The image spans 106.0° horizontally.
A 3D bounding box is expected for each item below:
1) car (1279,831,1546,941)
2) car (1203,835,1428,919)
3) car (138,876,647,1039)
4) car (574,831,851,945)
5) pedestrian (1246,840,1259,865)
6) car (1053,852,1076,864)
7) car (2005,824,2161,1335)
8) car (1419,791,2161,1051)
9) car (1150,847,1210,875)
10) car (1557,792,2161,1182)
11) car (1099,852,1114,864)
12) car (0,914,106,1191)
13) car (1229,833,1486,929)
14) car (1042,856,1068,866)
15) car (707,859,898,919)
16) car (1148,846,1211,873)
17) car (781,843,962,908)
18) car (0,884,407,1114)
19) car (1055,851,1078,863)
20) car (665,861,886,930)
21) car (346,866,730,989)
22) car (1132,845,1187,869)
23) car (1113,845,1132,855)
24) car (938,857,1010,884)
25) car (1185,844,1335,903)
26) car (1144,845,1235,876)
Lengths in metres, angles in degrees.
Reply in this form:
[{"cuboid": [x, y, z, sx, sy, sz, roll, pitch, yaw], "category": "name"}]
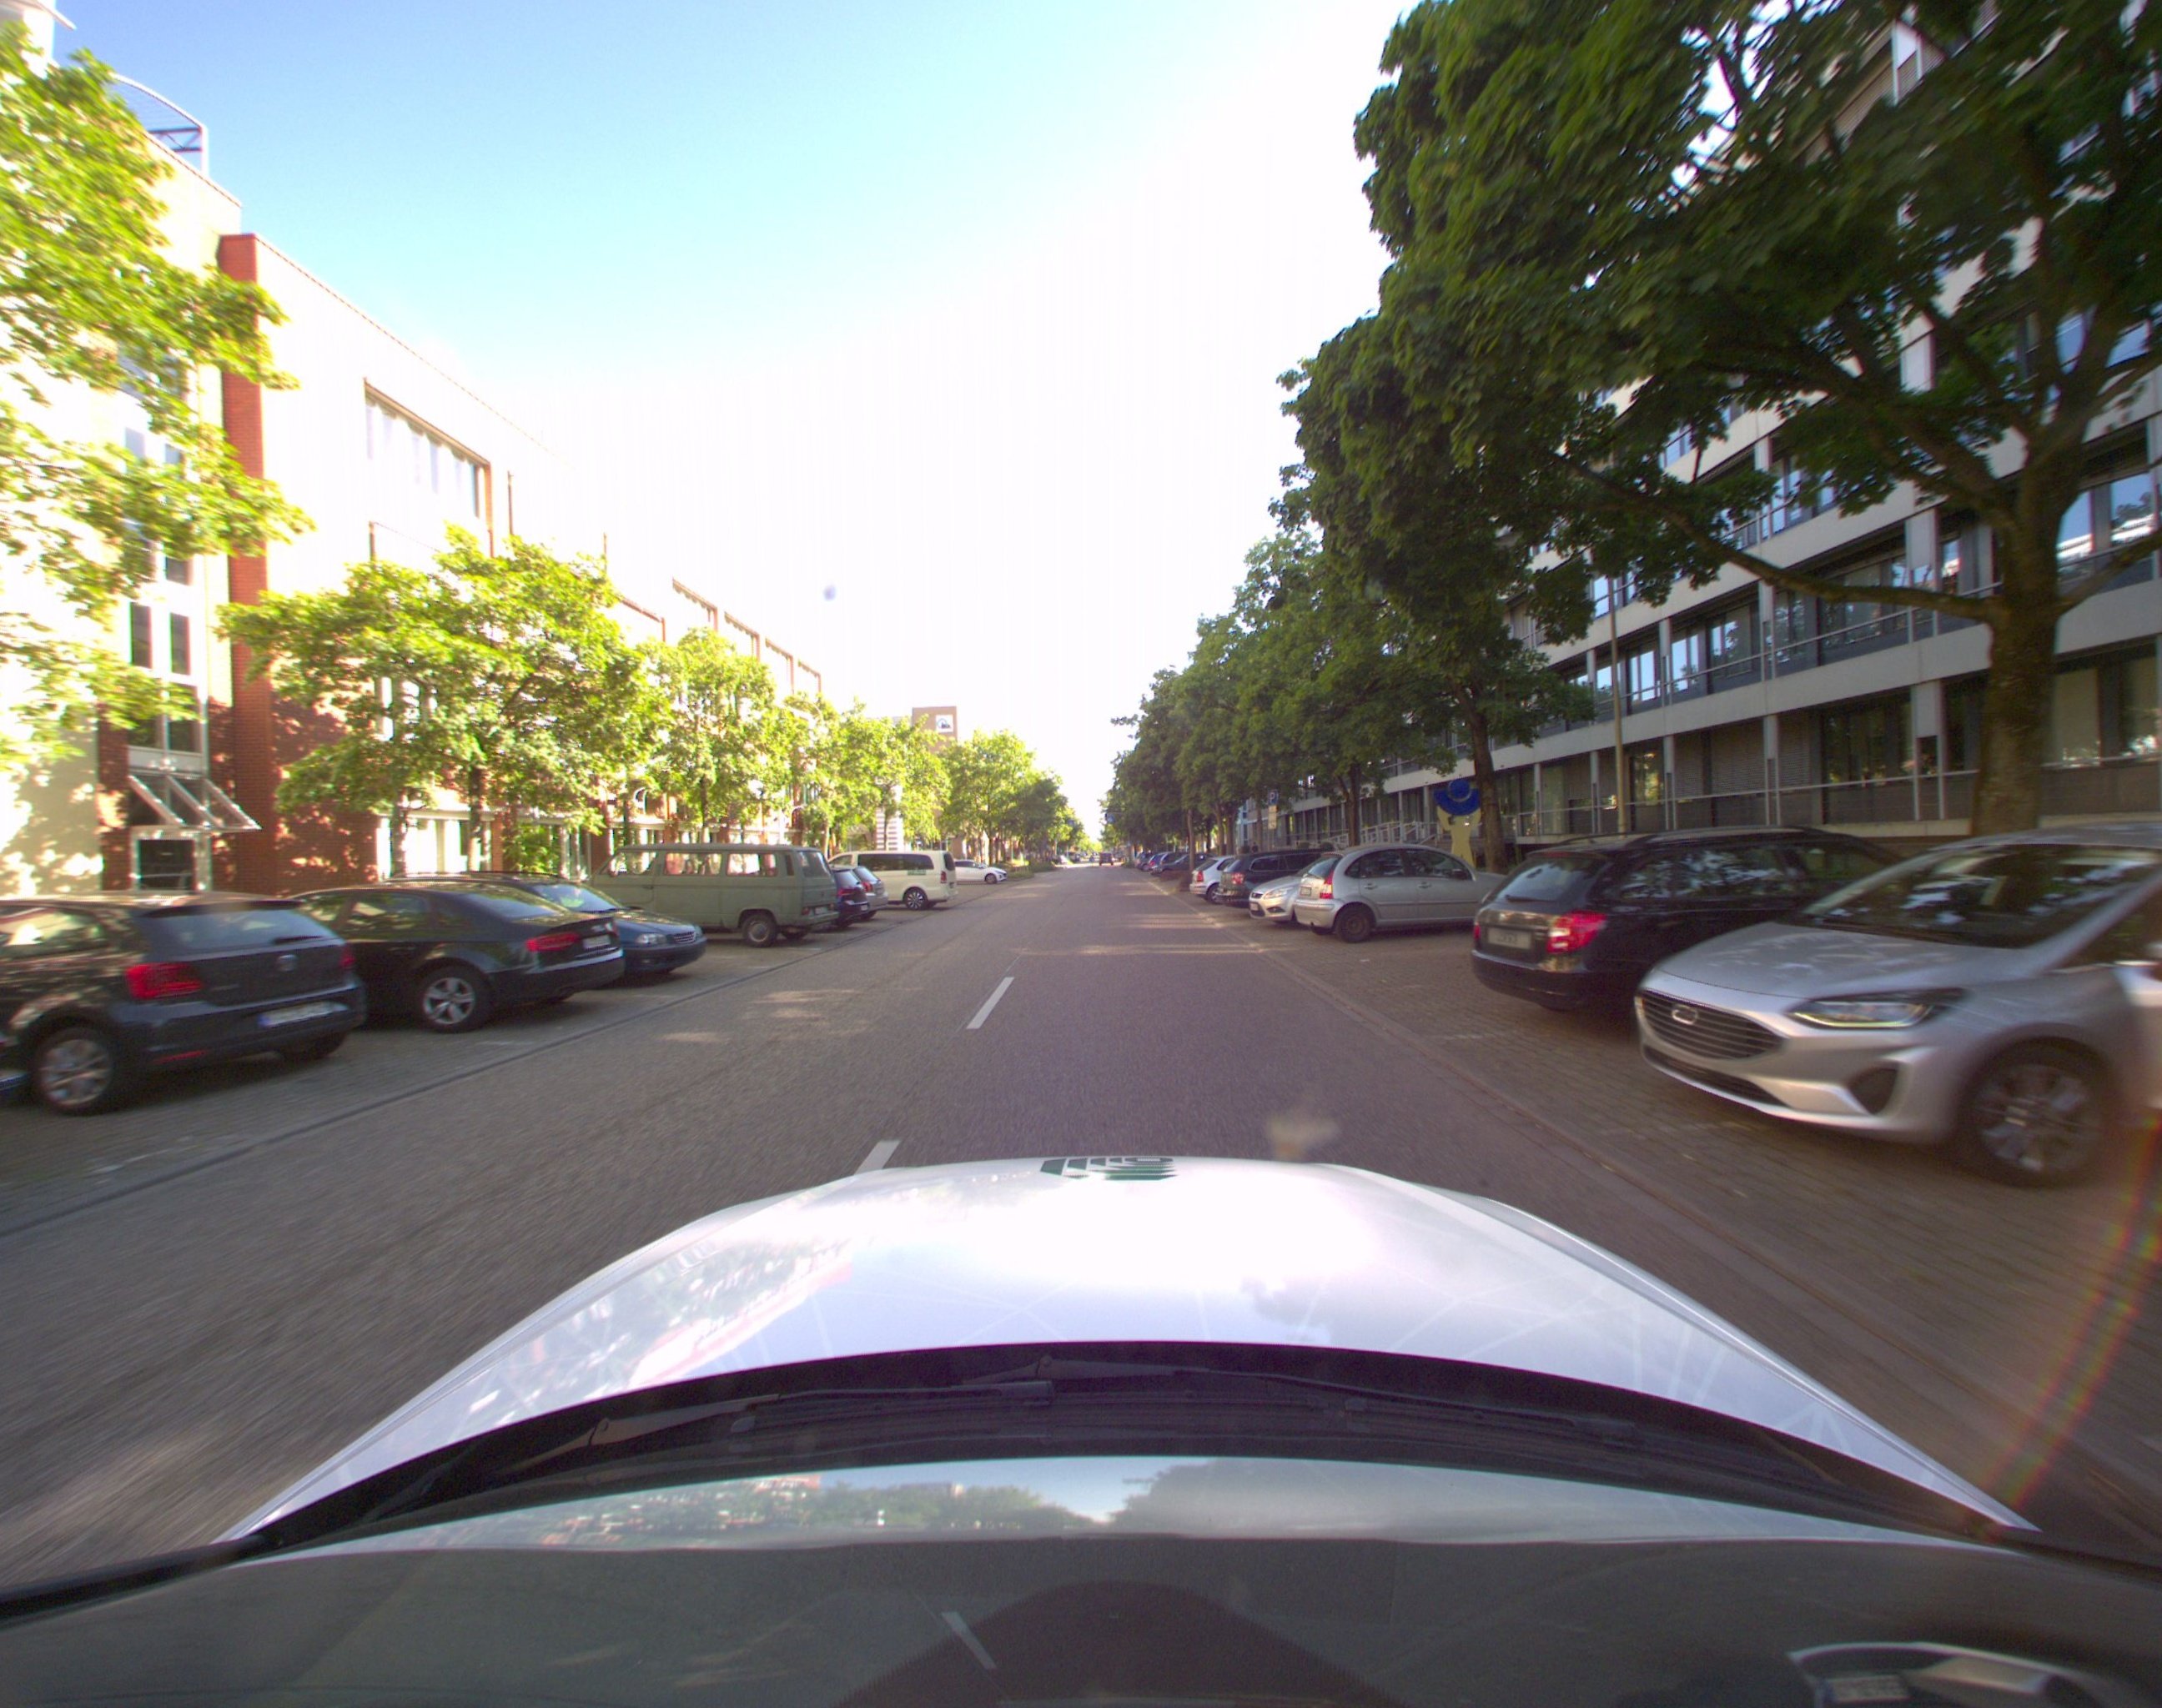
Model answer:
[{"cuboid": [5.401, 0.500, 13.558, 3.733, 1.493, 1.615, -4, 0, -2], "category": "car"}, {"cuboid": [5.228, 0.498, 18.617, 4.575, 1.493, 1.763, -4, 0, 1], "category": "car"}, {"cuboid": [-6.876, 0.979, 8.507, 3.719, 1.427, 1.722, 0, 0, -5], "category": "car"}, {"cuboid": [-7.090, 0.626, 16.019, 4.469, 2.090, 2.085, 0, 0, 3], "category": "car"}, {"cuboid": [11.918, -0.111, 56.665, 0.605, 1.745, 1.191, -2, 0, 1], "category": "pedestrian"}, {"cuboid": [-3.016, 0.697, 150.528, 3.967, 2.013, 2.003, -2, 0, 5], "category": "car"}, {"cuboid": [4.888, 0.537, 1.561, 3.819, 1.447, 1.925, -4, 0, 5], "category": "car"}, {"cuboid": [5.421, 0.468, 6.615, 4.498, 1.542, 1.922, -4, 0, 1], "category": "car"}, {"cuboid": [6.253, 0.423, 51.986, 3.626, 1.514, 1.814, -4, 0, 3], "category": "car"}, {"cuboid": [5.330, 0.474, 4.231, 4.493, 1.542, 1.925, -4, 0, 5], "category": "car"}, {"cuboid": [3.613, 0.543, 115.560, 1.986, 1.640, 4.001, 0, 0, 1], "category": "car"}, {"cuboid": [-7.595, 1.026, 3.651, 4.306, 1.358, 1.757, 0, 0, 0], "category": "car"}, {"cuboid": [5.265, 0.486, 15.939, 4.274, 1.493, 2.002, -4, 0, -2], "category": "car"}, {"cuboid": [-3.956, 1.071, 123.250, 3.845, 1.473, 1.808, 0, 0, -7], "category": "car"}, {"cuboid": [-7.223, 0.901, 21.424, 4.302, 1.477, 1.945, 0, 0, 3], "category": "car"}, {"cuboid": [6.533, 0.353, 54.310, 3.933, 1.514, 1.814, -4, 0, 2], "category": "car"}, {"cuboid": [-6.583, 0.654, 26.023, 5.239, 1.967, 1.943, 0, 0, 1], "category": "car"}, {"cuboid": [-7.707, 0.984, 6.188, 3.713, 1.427, 1.725, 0, 0, 0], "category": "car"}, {"cuboid": [-2.719, 0.555, 153.502, 3.967, 2.013, 2.003, -2, 0, 5], "category": "car"}, {"cuboid": [-6.893, 0.922, 18.690, 4.302, 1.477, 1.945, 0, 0, 3], "category": "car"}, {"cuboid": [-7.280, 0.946, 11.206, 4.117, 1.528, 1.726, 0, 0, 1], "category": "car"}, {"cuboid": [6.580, 0.235, 68.476, 4.339, 1.704, 1.811, -4, 0, -2], "category": "car"}, {"cuboid": [8.768, -0.787, 171.707, 3.975, 2.013, 1.999, -2, 0, -1], "category": "car"}, {"cuboid": [-6.341, 0.958, 48.497, 3.974, 1.486, 1.807, -1, 0, 0], "category": "car"}, {"cuboid": [5.183, 0.565, 23.882, 3.958, 1.420, 1.710, -4, 0, -1], "category": "car"}, {"cuboid": [6.052, 0.363, 45.830, 4.810, 1.420, 2.031, -4, 0, -1], "category": "car"}]
